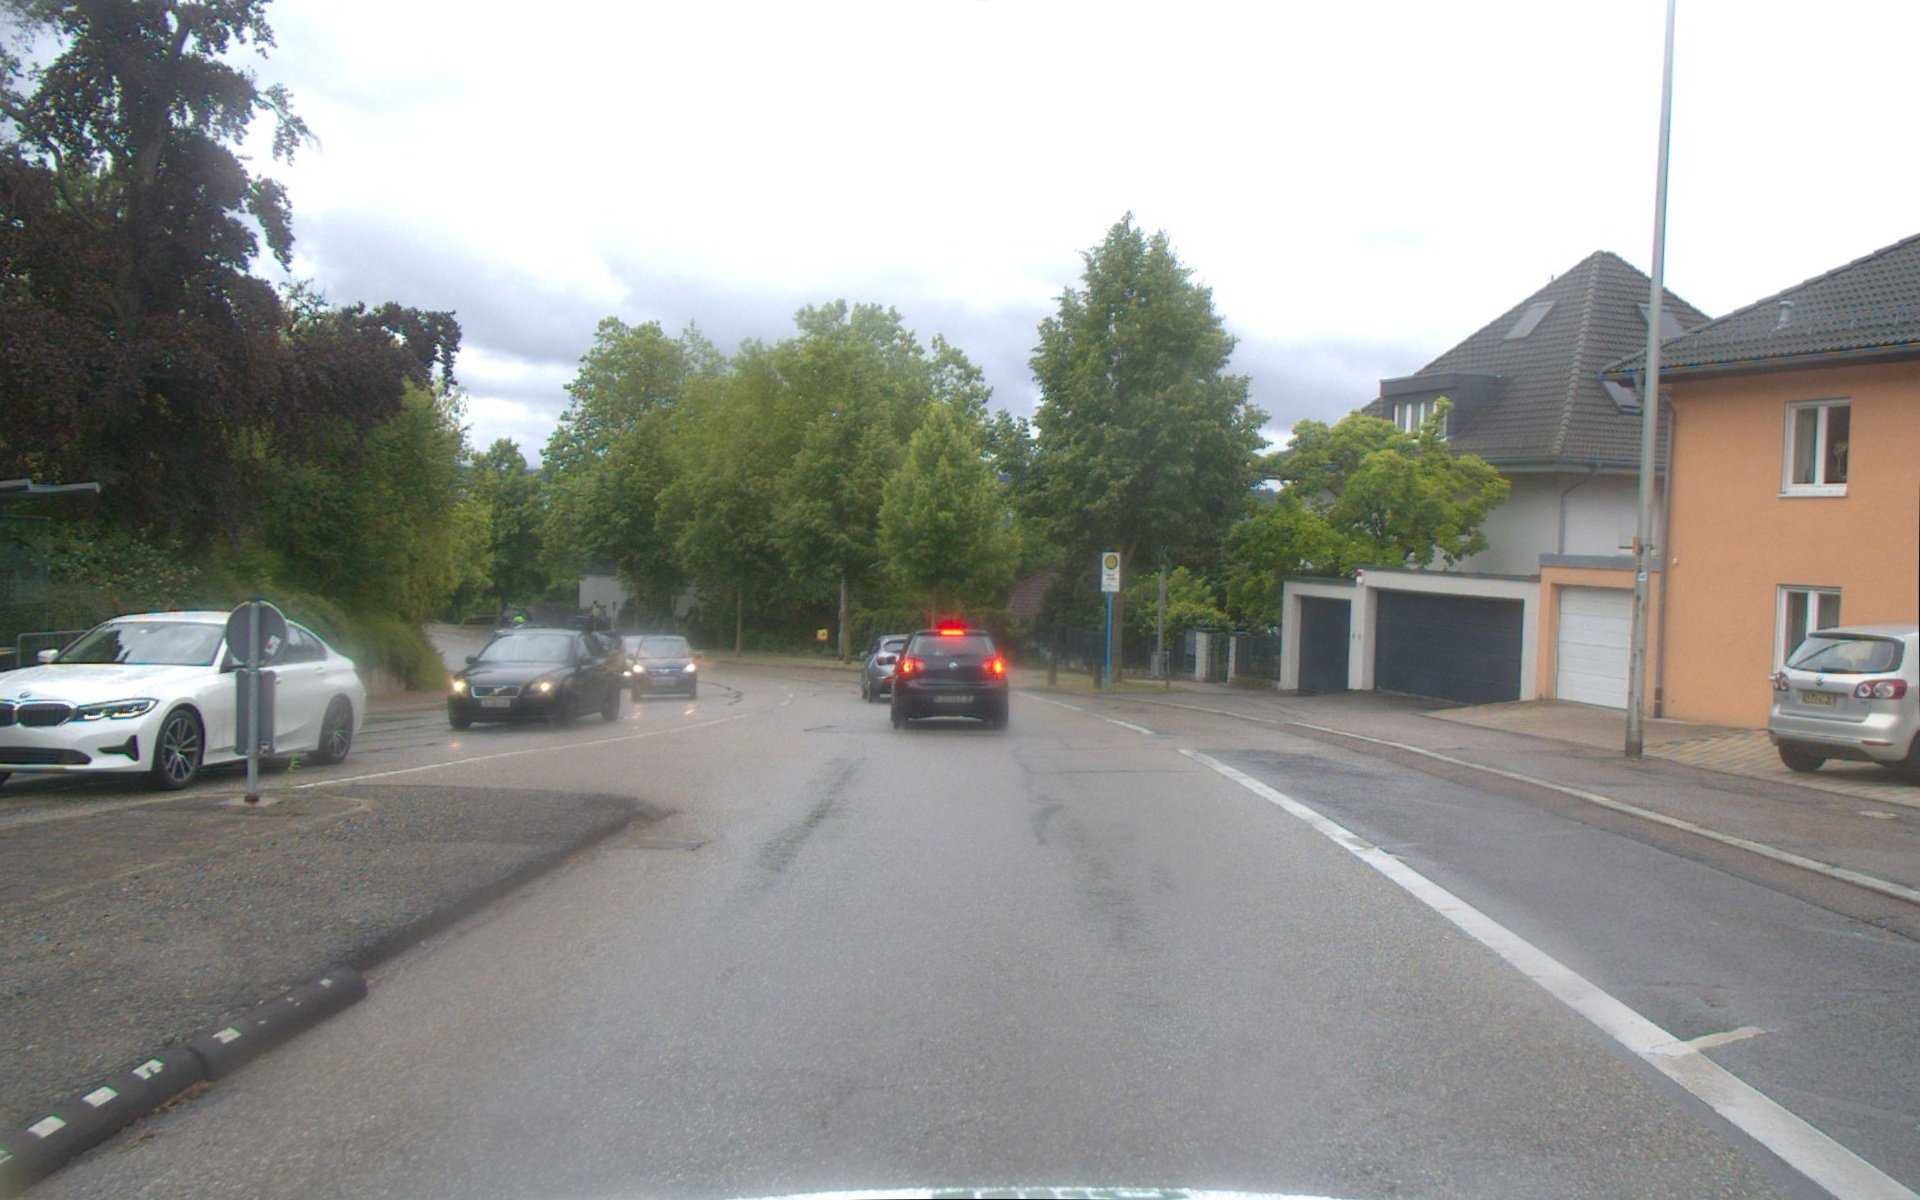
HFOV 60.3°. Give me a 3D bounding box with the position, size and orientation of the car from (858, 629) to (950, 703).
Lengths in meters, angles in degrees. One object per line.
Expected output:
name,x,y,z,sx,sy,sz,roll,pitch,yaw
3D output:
car,-1.321,1.447,37.383,1.721,1.489,3.993,0,0,-7

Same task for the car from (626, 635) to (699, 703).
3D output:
car,-7.366,1.665,41.177,1.690,1.489,4.367,0,0,-9

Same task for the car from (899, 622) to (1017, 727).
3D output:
car,-0.102,1.105,25.658,1.687,1.490,3.998,0,-1,-2

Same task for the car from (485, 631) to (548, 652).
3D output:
car,-30.298,2.844,112.955,4.061,1.408,1.718,0,-1,-18

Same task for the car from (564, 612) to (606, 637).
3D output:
car,-28.258,1.853,124.660,1.714,1.495,4.570,3,3,5

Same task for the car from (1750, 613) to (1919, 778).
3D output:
car,10.596,0.945,17.729,3.802,1.593,1.717,0,0,-21

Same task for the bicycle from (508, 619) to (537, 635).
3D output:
bicycle,-31.250,1.919,118.111,1.999,1.175,0.850,0,-1,-18

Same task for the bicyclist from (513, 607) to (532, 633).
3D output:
bicyclist,-31.260,1.423,118.118,1.261,1.786,0.850,0,-1,-18

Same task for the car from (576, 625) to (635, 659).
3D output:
car,-17.639,2.058,82.178,1.703,1.489,3.961,4,-2,-29

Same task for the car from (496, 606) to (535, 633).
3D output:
car,-33.488,1.460,124.700,1.909,1.718,4.901,2,3,-4

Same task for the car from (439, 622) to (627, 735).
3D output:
car,-6.294,1.100,24.843,1.754,1.472,4.401,0,0,-1

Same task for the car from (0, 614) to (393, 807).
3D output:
car,-6.930,0.843,14.768,1.790,1.426,4.823,0,0,4

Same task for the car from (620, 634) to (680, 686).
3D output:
car,-10.046,1.932,53.800,1.777,1.604,4.675,0,-1,-9
